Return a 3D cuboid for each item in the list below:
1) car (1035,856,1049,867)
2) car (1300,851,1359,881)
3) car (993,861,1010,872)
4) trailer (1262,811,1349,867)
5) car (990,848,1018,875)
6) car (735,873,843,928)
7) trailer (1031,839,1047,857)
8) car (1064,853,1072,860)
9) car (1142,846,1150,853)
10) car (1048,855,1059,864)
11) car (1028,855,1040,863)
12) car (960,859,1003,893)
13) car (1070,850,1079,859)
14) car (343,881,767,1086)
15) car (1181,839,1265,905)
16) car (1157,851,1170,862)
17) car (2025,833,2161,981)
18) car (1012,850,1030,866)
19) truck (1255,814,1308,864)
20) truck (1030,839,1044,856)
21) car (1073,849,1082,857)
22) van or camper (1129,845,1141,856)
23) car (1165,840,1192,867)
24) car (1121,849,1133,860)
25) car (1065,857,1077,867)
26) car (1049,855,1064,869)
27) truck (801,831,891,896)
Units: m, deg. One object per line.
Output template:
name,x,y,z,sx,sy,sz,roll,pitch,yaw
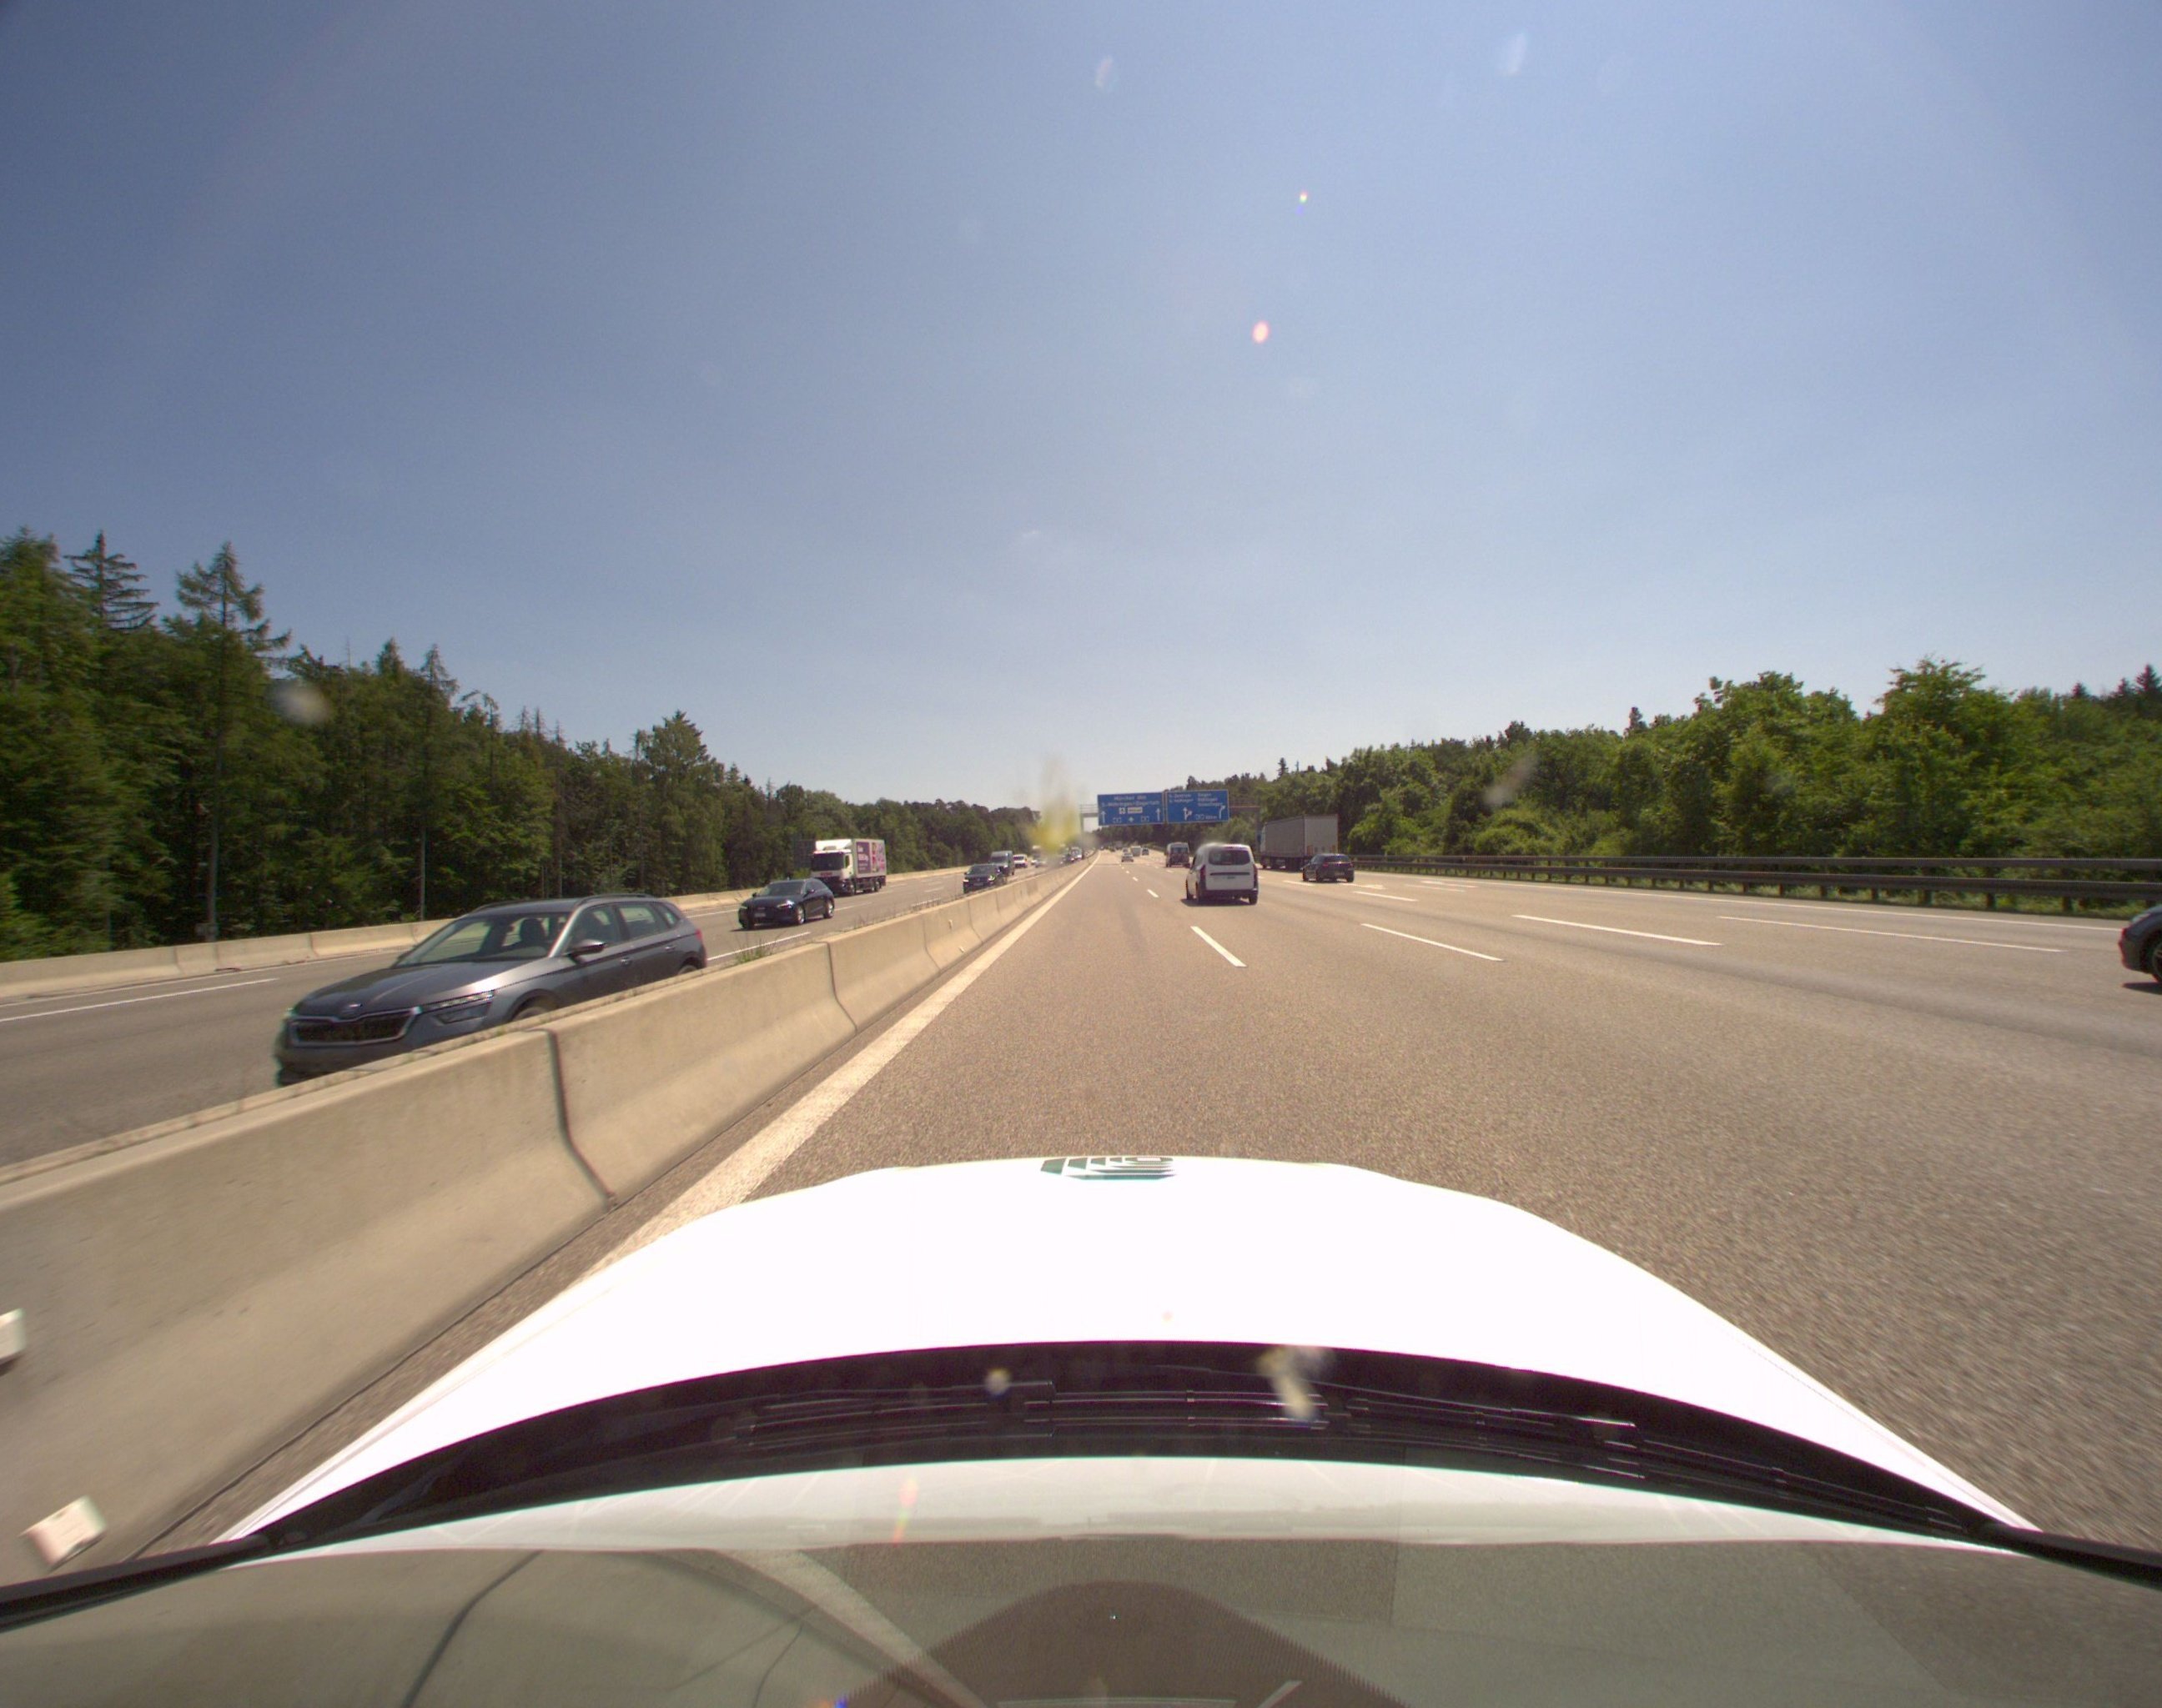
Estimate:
car,-6.061,1.163,127.162,1.672,1.444,4.528,-4,0,2
car,12.192,0.556,40.182,1.664,1.273,4.292,-2,1,2
car,-10.796,1.688,110.999,1.672,1.444,4.023,-3,0,1
trailer,17.279,-1.113,64.152,3.276,3.930,13.894,-1,0,1
car,-7.982,0.748,84.869,1.923,2.607,7.233,-3,0,2
car,-9.649,1.484,27.347,1.711,1.449,4.909,-3,0,1
trailer,-11.038,-1.555,214.322,2.744,4.246,13.723,-3,-1,2
car,-3.209,0.635,205.526,1.811,1.589,4.883,-4,0,1
car,17.340,-1.126,217.800,1.814,1.859,4.002,-3,0,2
car,-4.895,0.912,146.680,1.672,1.444,3.995,-4,0,1
car,-9.185,1.007,159.899,1.985,1.306,4.847,-3,0,2
car,-5.232,1.124,43.322,1.608,1.662,3.851,-3,0,2
car,-1.359,0.163,165.545,1.748,1.673,4.203,-3,0,0
car,-5.305,1.170,9.080,1.711,1.512,4.353,-3,0,2
car,4.391,0.543,25.878,1.853,1.826,4.613,-3,-1,1
car,12.972,0.409,128.313,1.811,1.640,4.002,-3,0,2
car,11.271,0.511,6.740,1.637,1.438,4.637,-1,0,1
car,-9.603,0.630,130.495,1.923,2.413,6.628,-5,-1,2
truck,17.387,-1.293,70.918,3.242,4.106,5.990,-1,0,1
truck,-11.204,-1.623,208.083,2.750,4.220,6.380,-3,-1,2
car,-0.739,-0.209,186.919,1.805,1.673,4.478,-3,0,2
van or camper,13.286,-0.868,199.785,2.635,2.539,6.504,-3,0,2
car,10.232,-0.027,85.818,2.135,2.652,5.712,-3,0,2
car,7.248,0.100,128.505,1.836,1.629,4.555,-3,-1,2
car,-1.749,1.325,144.319,1.863,1.606,5.231,-3,0,2
car,-3.197,1.004,106.623,1.698,1.662,3.761,-2,0,2
truck,-15.900,0.643,56.060,2.709,3.939,10.239,-3,-1,2
